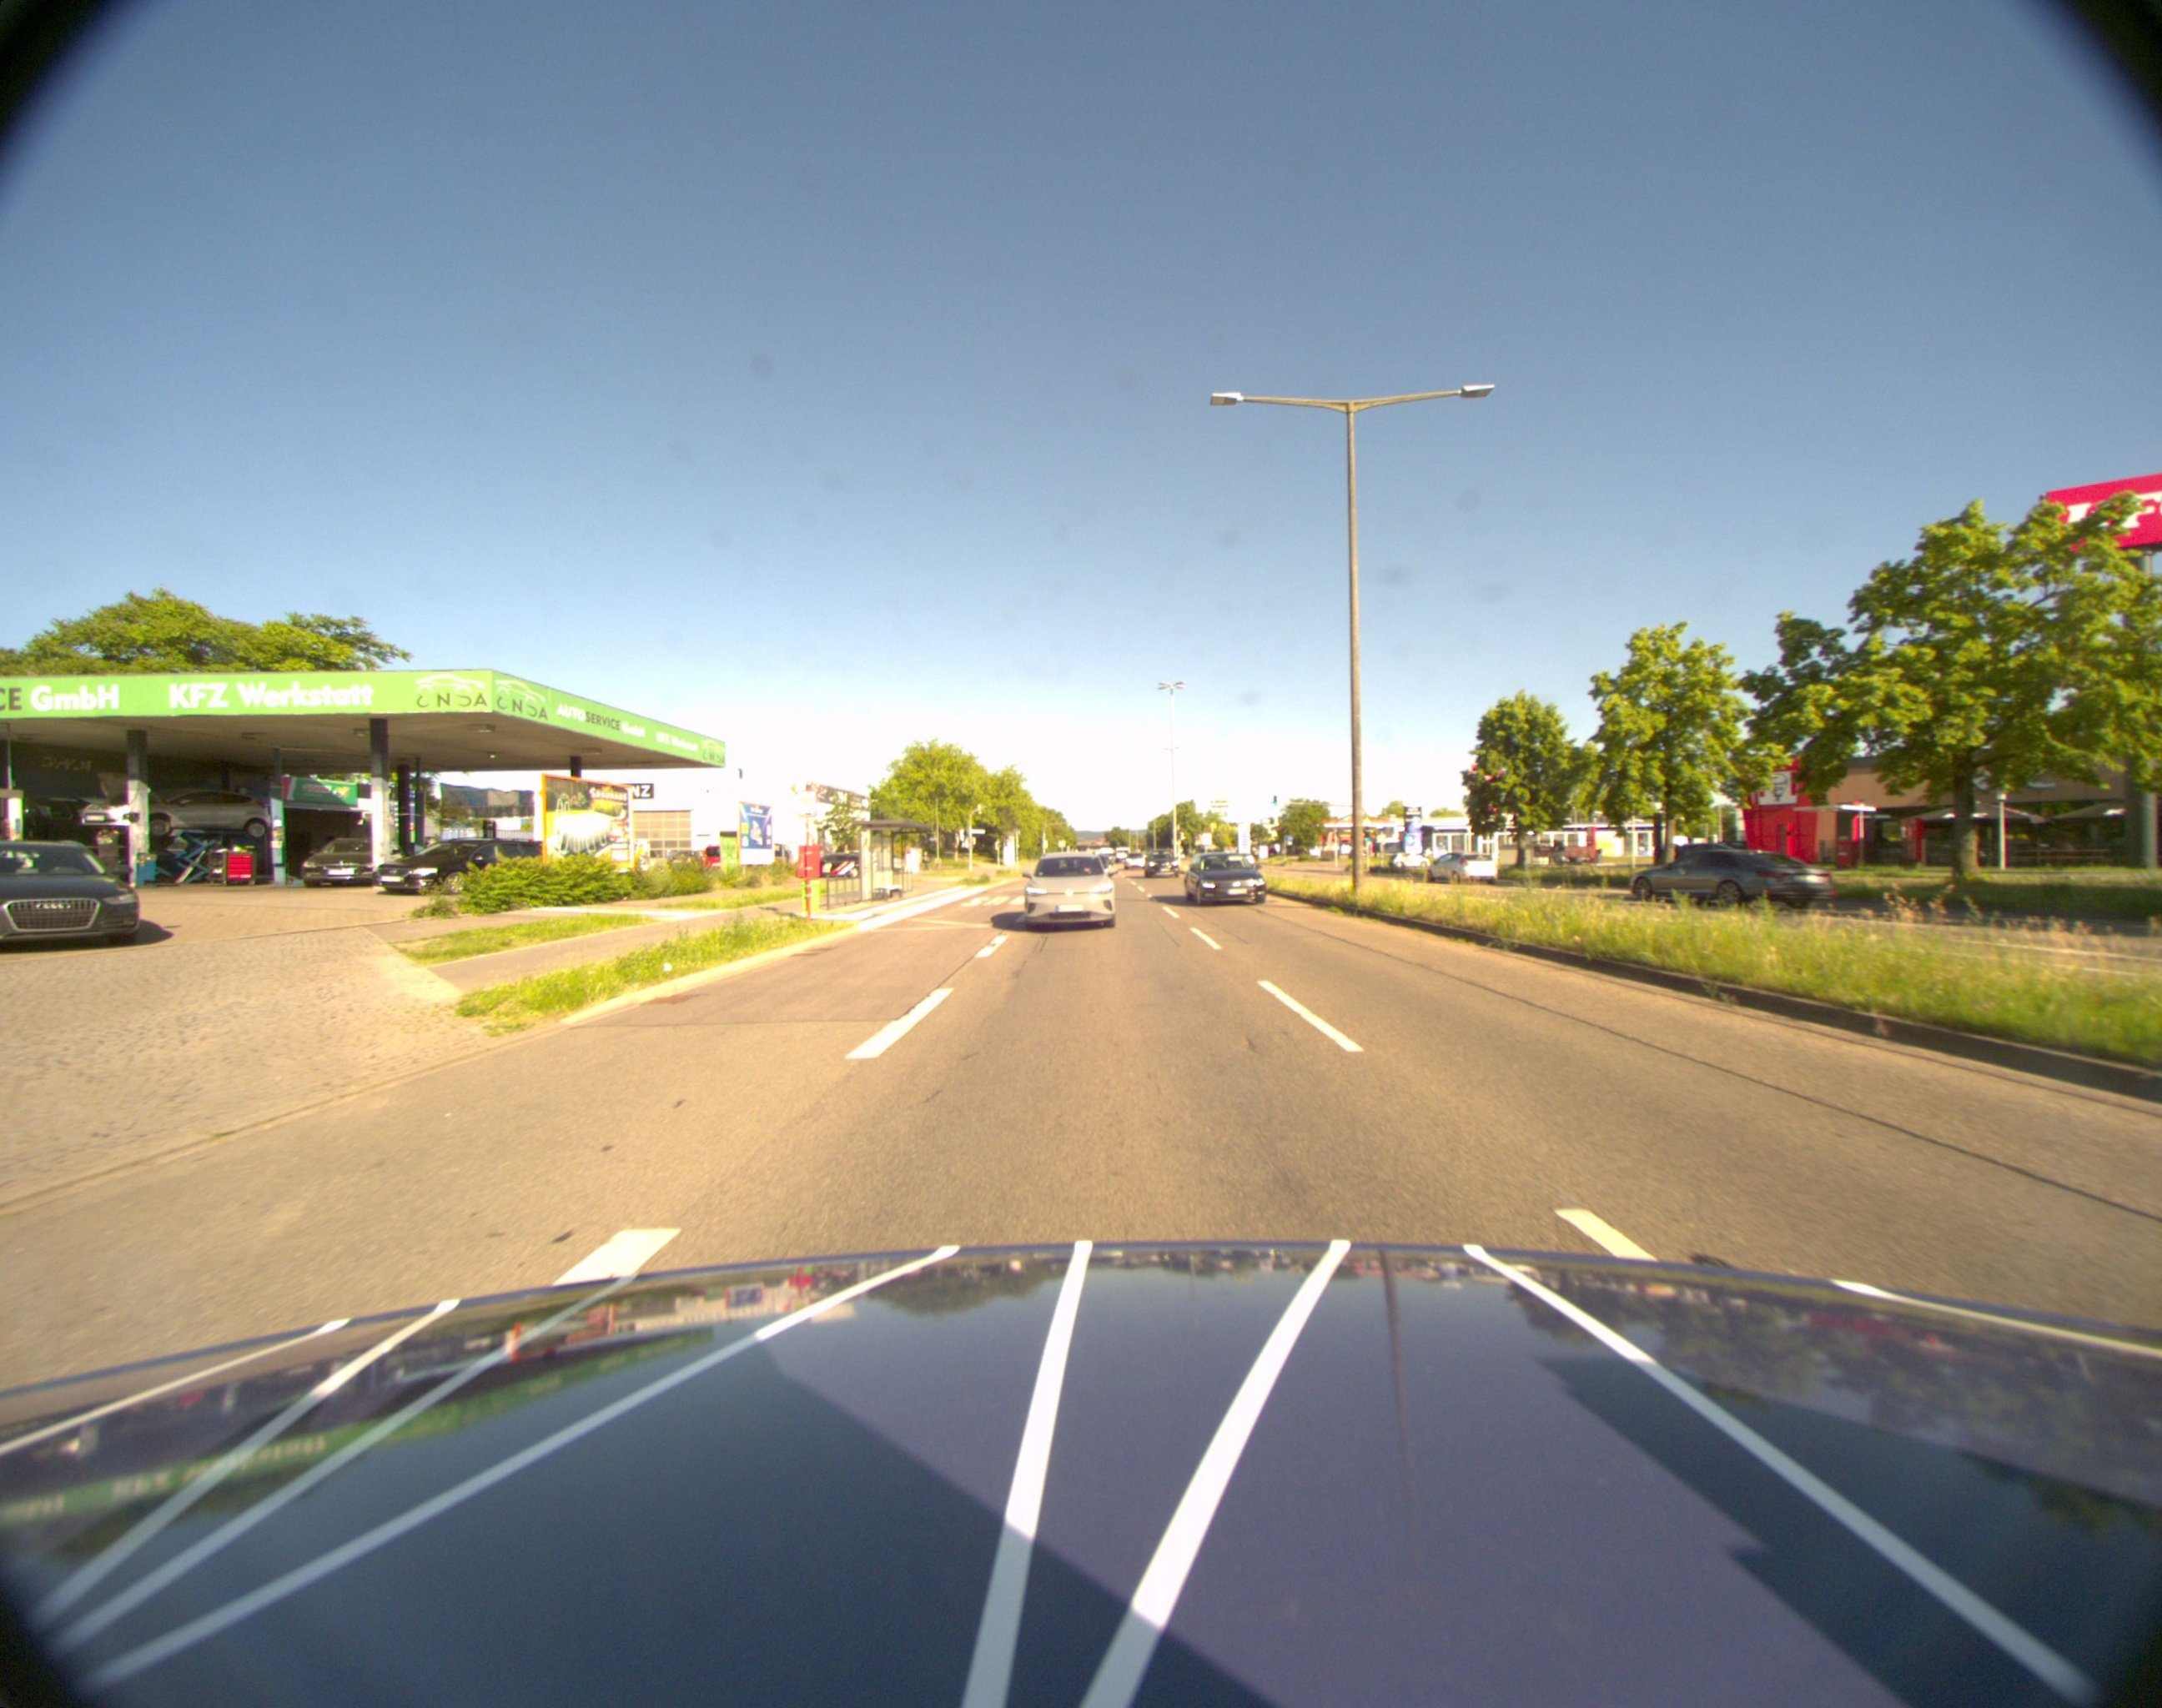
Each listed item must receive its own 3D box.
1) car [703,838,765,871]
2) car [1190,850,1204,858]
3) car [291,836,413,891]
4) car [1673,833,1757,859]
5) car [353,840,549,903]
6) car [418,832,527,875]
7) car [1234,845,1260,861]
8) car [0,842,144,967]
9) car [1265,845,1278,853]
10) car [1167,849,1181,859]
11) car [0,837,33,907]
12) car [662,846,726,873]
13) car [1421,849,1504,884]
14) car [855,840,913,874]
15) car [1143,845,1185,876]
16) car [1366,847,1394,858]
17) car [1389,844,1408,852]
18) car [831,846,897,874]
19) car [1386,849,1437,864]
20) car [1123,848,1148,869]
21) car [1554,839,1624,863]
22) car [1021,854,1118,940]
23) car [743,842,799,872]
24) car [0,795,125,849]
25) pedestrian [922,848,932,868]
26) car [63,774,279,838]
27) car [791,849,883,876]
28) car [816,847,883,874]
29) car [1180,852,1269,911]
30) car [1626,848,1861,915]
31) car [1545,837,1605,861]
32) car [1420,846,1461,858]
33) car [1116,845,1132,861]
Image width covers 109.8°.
[{"bbox_3d":[-21.316,-0.006,46.857,1.898,1.850,4.215,3,1,-1],"label":"car"},{"bbox_3d":[22.016,-0.020,144.780,1.998,1.368,4.623,-1,1,1],"label":"car"},{"bbox_3d":[-21.848,0.279,22.956,2.003,1.477,3.990,-3,1,-35],"label":"car"},{"bbox_3d":[44.141,-0.521,52.980,1.899,1.652,4.231,-3,1,-41],"label":"car"},{"bbox_3d":[-17.211,0.421,21.084,1.748,1.563,4.249,-1,0,2],"label":"car"},{"bbox_3d":[-29.689,-0.019,37.156,3.700,1.896,1.924,-2,1,1],"label":"car"},{"bbox_3d":[18.110,-0.111,83.191,1.998,1.674,4.177,0,1,1],"label":"car"},{"bbox_3d":[-16.564,0.674,11.854,4.547,1.630,1.805,2,1,31],"label":"car"},{"bbox_3d":[40.550,-1.094,161.702,1.762,1.604,4.119,1,1,0],"label":"car"},{"bbox_3d":[15.684,0.044,128.535,1.879,1.632,4.170,1,1,1],"label":"car"},{"bbox_3d":[-25.071,0.391,15.766,3.998,1.508,1.735,0,1,-3],"label":"car"},{"bbox_3d":[-23.695,0.316,46.668,1.771,1.245,4.214,4,3,-1],"label":"car"},{"bbox_3d":[16.763,0.508,33.609,1.645,1.442,4.111,1,1,1],"label":"car"},{"bbox_3d":[-14.395,0.205,55.463,3.986,2.002,1.690,7,1,33],"label":"car"},{"bbox_3d":[4.862,0.361,45.150,1.998,1.674,4.696,-2,1,1],"label":"car"},{"bbox_3d":[39.251,-0.208,99.832,1.900,1.317,4.119,1,1,0],"label":"car"},{"bbox_3d":[58.576,-1.134,140.301,1.772,1.432,4.119,-1,0,0],"label":"car"},{"bbox_3d":[-14.934,0.397,52.345,3.923,1.444,1.727,6,2,12],"label":"car"},{"bbox_3d":[32.628,0.239,75.086,4.192,1.465,2.000,-1,1,0],"label":"car"},{"bbox_3d":[4.910,0.394,68.615,1.998,1.779,4.270,-2,1,1],"label":"car"},{"bbox_3d":[39.750,-0.221,59.520,1.899,1.652,4.122,-3,1,-41],"label":"car"},{"bbox_3d":[-0.161,0.837,16.968,1.848,1.615,4.265,-2,0,2],"label":"car"},{"bbox_3d":[-19.394,0.140,47.760,1.687,1.773,4.594,3,1,-1],"label":"car"},{"bbox_3d":[-30.447,-0.880,21.585,1.923,1.469,3.627,0,1,2],"label":"car"},{"bbox_3d":[-13.387,0.339,66.128,0.759,1.706,0.617,-1,1,1],"label":"pedestrian"},{"bbox_3d":[-27.393,-1.383,23.090,1.923,1.745,3.778,0,1,2],"label":"car"},{"bbox_3d":[-14.377,0.518,44.998,1.895,1.522,4.847,2,1,45],"label":"car"},{"bbox_3d":[-14.905,0.401,49.107,3.614,1.283,1.841,6,2,2],"label":"car"},{"bbox_3d":[4.007,0.712,21.898,1.848,1.445,4.265,-2,0,2],"label":"car"},{"bbox_3d":[16.216,0.586,19.010,1.822,1.426,4.630,1,1,1],"label":"car"},{"bbox_3d":[41.601,-0.397,64.087,1.851,1.840,3.820,-3,1,-39],"label":"car"},{"bbox_3d":[44.411,-0.251,93.896,4.116,1.424,1.901,1,1,1],"label":"car"},{"bbox_3d":[6.105,-0.142,108.544,2.089,2.229,4.000,-2,1,1],"label":"car"}]
